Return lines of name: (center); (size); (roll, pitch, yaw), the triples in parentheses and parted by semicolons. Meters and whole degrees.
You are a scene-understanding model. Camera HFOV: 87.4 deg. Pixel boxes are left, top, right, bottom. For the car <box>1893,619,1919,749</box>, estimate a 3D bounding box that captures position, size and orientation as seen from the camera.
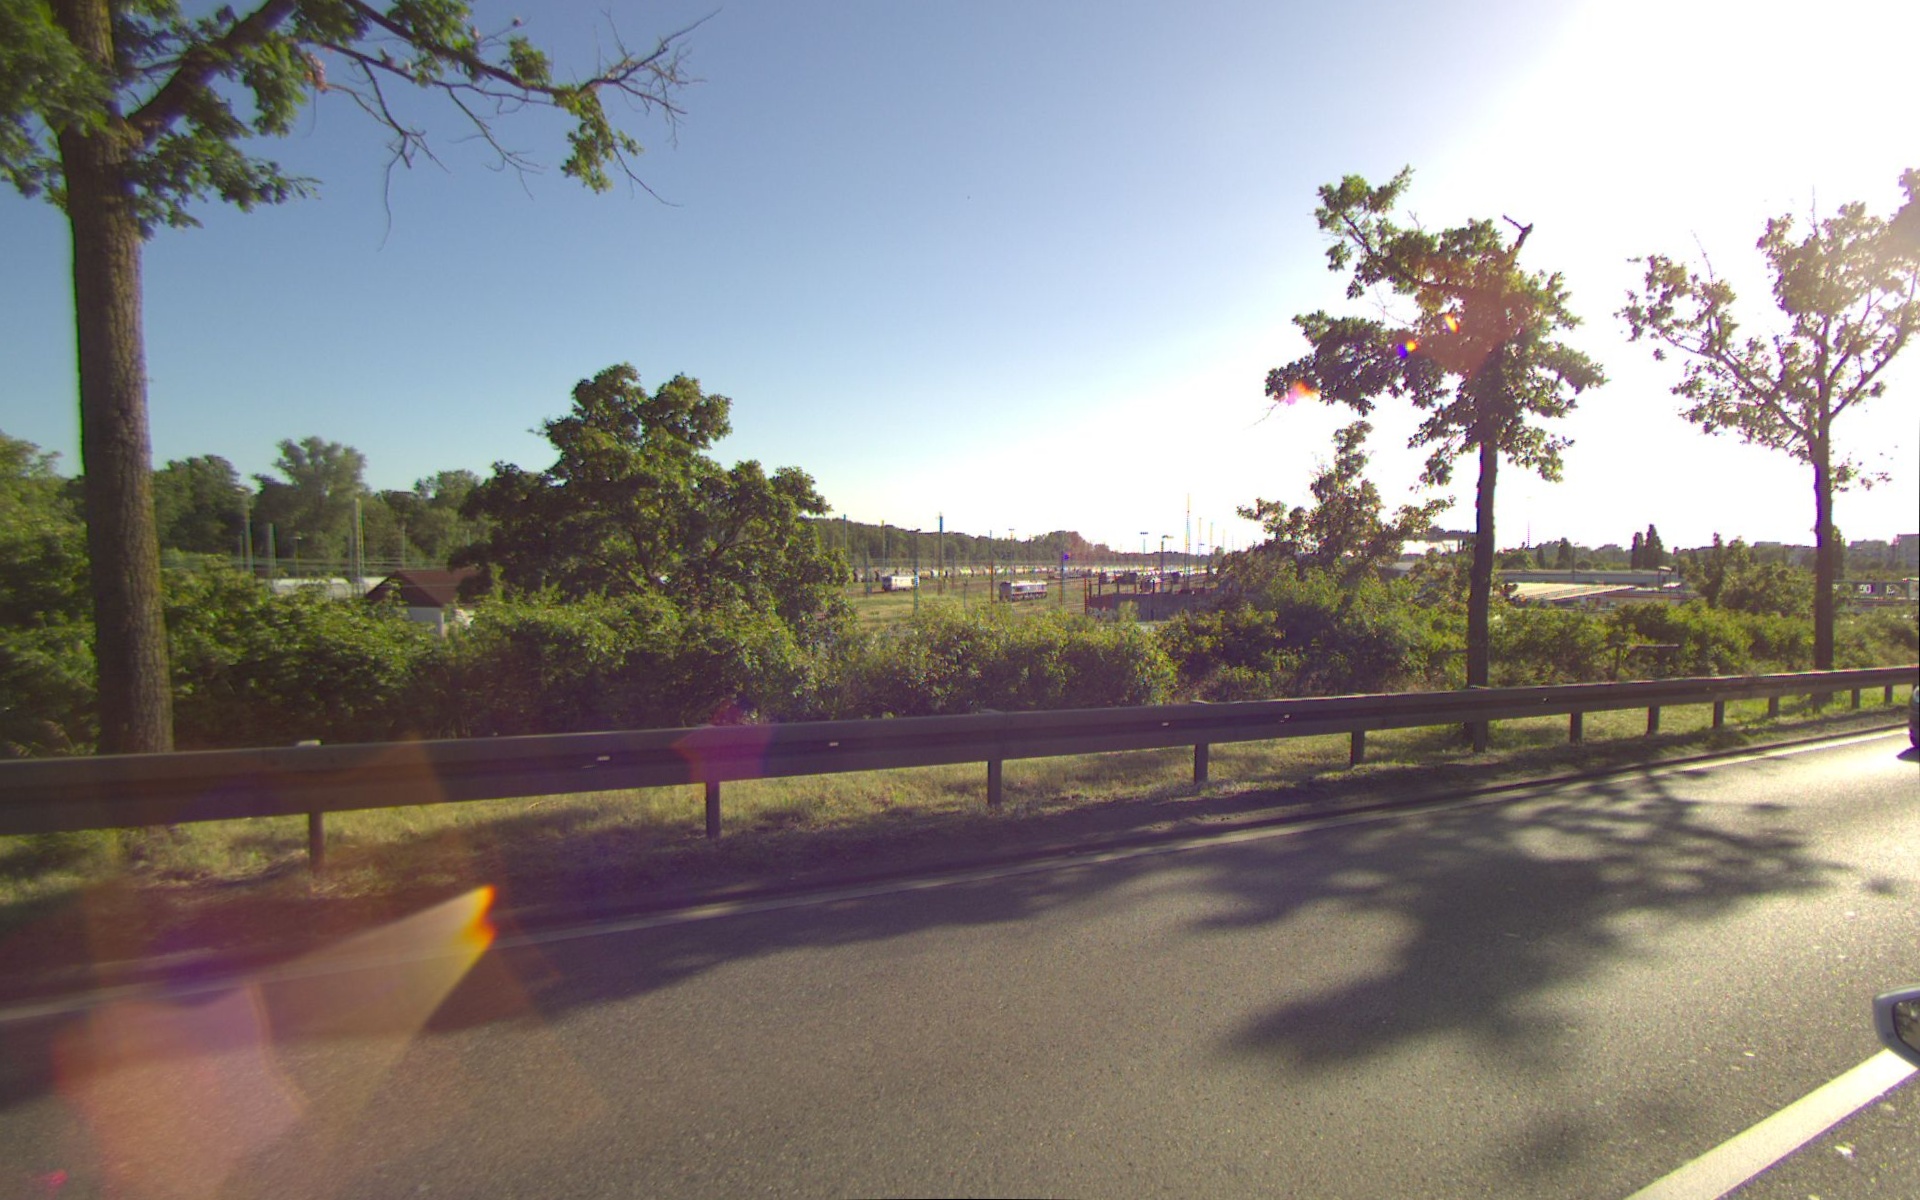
car: (13.703, 1.073, 12.849); (4.100, 1.575, 1.797); (1, 1, -36)
